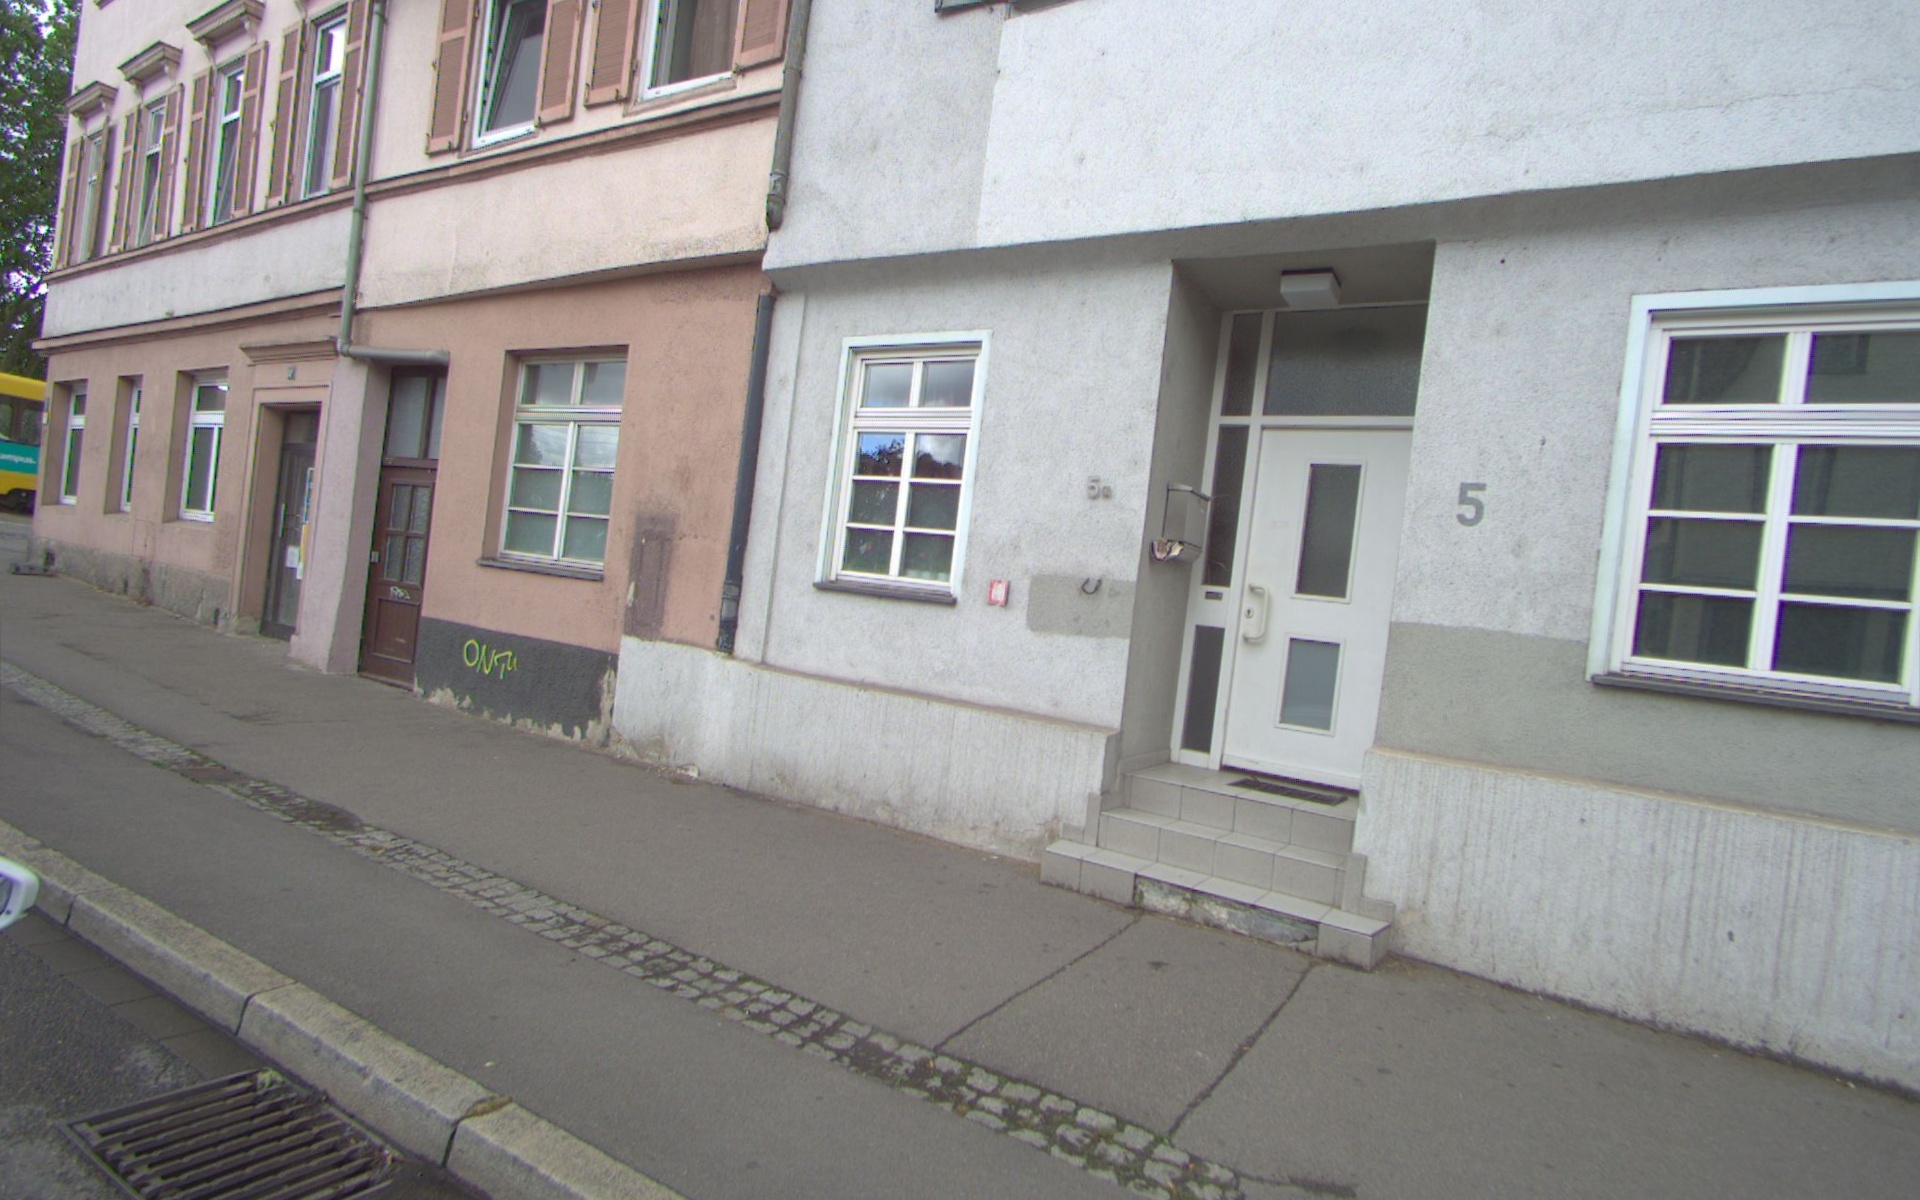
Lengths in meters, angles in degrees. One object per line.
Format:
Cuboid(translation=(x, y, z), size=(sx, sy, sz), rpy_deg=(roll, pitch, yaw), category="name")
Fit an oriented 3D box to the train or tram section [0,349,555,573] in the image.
Cuboid(translation=(-22.186, -3.967, 32.573), size=(3.250, 4.052, 19.272), rpy_deg=(10, 1, 26), category="train or tram section")
